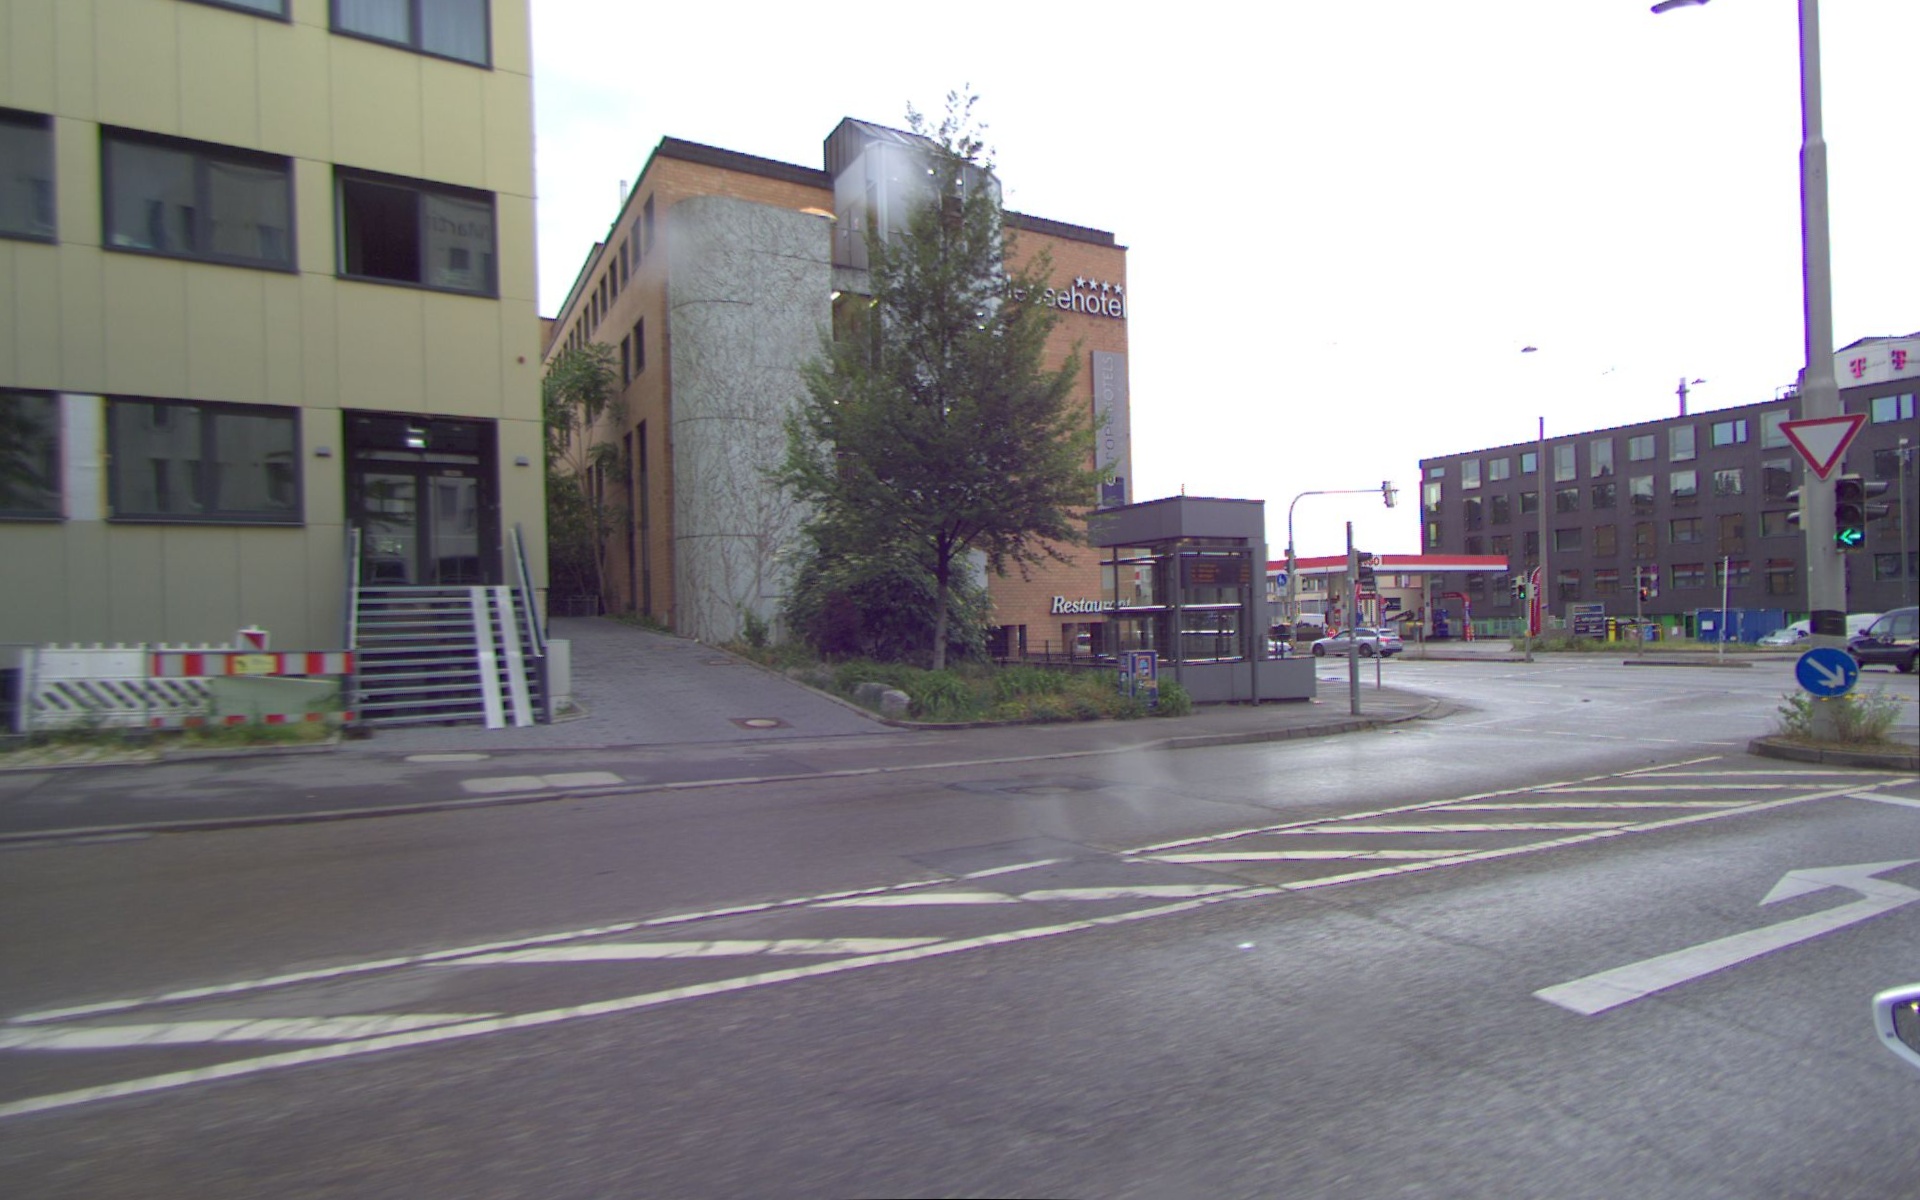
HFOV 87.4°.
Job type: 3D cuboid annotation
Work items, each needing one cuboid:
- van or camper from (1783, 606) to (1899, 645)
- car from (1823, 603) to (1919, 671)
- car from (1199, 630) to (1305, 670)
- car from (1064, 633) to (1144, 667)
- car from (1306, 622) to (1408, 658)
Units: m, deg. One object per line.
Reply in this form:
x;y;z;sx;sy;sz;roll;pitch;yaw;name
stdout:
59.669;1.697;68.132;2.707;2.400;5.304;2;0;-30;van or camper
26.637;1.030;28.108;1.821;1.791;4.134;0;-2;8;car
12.553;2.108;43.429;1.942;1.545;4.229;-2;-1;-30;car
6.679;2.303;47.033;1.676;1.419;4.060;-2;-1;-27;car
19.987;2.002;50.718;1.979;1.600;4.449;2;0;-34;car
